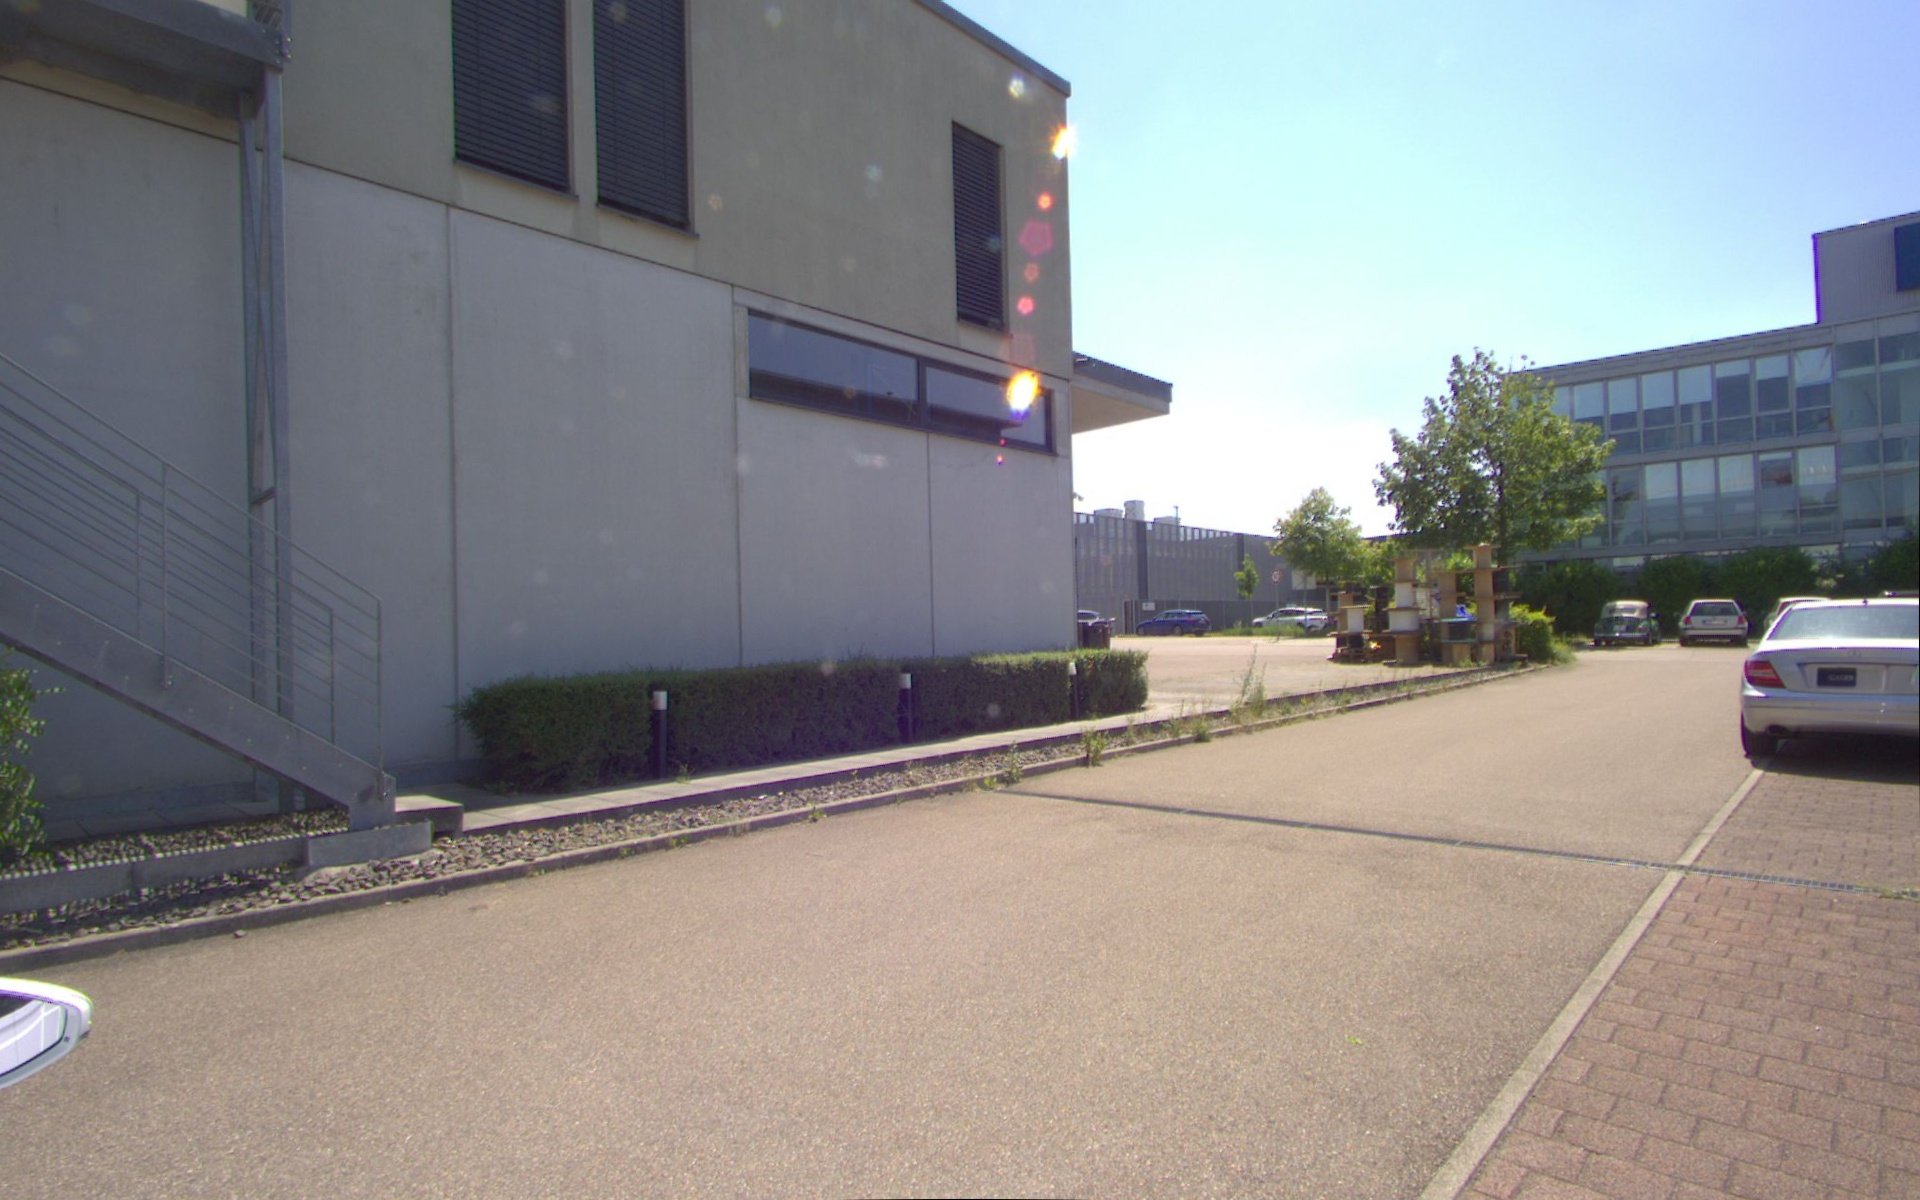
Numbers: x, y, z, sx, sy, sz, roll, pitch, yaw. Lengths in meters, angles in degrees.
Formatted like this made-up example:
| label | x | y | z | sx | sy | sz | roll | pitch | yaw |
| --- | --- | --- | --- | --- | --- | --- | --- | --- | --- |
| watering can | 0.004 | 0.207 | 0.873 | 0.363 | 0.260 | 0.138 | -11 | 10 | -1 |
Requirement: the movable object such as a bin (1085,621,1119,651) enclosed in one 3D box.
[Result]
| label | x | y | z | sx | sy | sz | roll | pitch | yaw |
| --- | --- | --- | --- | --- | --- | --- | --- | --- | --- |
| movable object such as a bin | 4.754 | 1.202 | 33.477 | 0.809 | 0.993 | 0.803 | -1 | -1 | 43 |

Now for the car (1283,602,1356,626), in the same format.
| label | x | y | z | sx | sy | sz | roll | pitch | yaw |
| --- | --- | --- | --- | --- | --- | --- | --- | --- | --- |
| car | 22.253 | 0.894 | 62.091 | 1.727 | 1.433 | 4.041 | 1 | -2 | -34 |

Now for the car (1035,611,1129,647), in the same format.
| label | x | y | z | sx | sy | sz | roll | pitch | yaw |
| --- | --- | --- | --- | --- | --- | --- | --- | --- | --- |
| car | 5.409 | 1.272 | 44.337 | 4.122 | 1.539 | 1.642 | 1 | -1 | -35 |

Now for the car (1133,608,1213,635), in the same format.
| label | x | y | z | sx | sy | sz | roll | pitch | yaw |
| --- | --- | --- | --- | --- | --- | --- | --- | --- | --- |
| car | 11.676 | 1.187 | 55.031 | 1.726 | 1.433 | 4.422 | 1 | -2 | -32 |

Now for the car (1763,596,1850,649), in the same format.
| label | x | y | z | sx | sy | sz | roll | pitch | yaw |
| --- | --- | --- | --- | --- | --- | --- | --- | --- | --- |
| car | 26.165 | 0.703 | 31.057 | 1.727 | 1.538 | 3.975 | -1 | -1 | 36 |

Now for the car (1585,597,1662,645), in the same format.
| label | x | y | z | sx | sy | sz | roll | pitch | yaw |
| --- | --- | --- | --- | --- | --- | --- | --- | --- | --- |
| car | 22.354 | 0.709 | 33.658 | 1.729 | 1.538 | 3.969 | -1 | -1 | 40 |

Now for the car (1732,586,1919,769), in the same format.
| label | x | y | z | sx | sy | sz | roll | pitch | yaw |
| --- | --- | --- | --- | --- | --- | --- | --- | --- | --- |
| car | 8.652 | 0.645 | 9.511 | 1.712 | 1.455 | 3.683 | -1 | -2 | 44 |

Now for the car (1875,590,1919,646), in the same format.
| label | x | y | z | sx | sy | sz | roll | pitch | yaw |
| --- | --- | --- | --- | --- | --- | --- | --- | --- | --- |
| car | 27.838 | 0.528 | 29.178 | 1.731 | 1.538 | 3.966 | -1 | -1 | 43 |

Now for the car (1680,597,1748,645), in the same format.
| label | x | y | z | sx | sy | sz | roll | pitch | yaw |
| --- | --- | --- | --- | --- | --- | --- | --- | --- | --- |
| car | 24.158 | 0.675 | 32.180 | 1.652 | 1.459 | 3.975 | -1 | -1 | 36 |

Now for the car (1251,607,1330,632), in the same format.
| label | x | y | z | sx | sy | sz | roll | pitch | yaw |
| --- | --- | --- | --- | --- | --- | --- | --- | --- | --- |
| car | 19.870 | 1.193 | 60.286 | 1.727 | 1.433 | 4.421 | 1 | -2 | -34 |
